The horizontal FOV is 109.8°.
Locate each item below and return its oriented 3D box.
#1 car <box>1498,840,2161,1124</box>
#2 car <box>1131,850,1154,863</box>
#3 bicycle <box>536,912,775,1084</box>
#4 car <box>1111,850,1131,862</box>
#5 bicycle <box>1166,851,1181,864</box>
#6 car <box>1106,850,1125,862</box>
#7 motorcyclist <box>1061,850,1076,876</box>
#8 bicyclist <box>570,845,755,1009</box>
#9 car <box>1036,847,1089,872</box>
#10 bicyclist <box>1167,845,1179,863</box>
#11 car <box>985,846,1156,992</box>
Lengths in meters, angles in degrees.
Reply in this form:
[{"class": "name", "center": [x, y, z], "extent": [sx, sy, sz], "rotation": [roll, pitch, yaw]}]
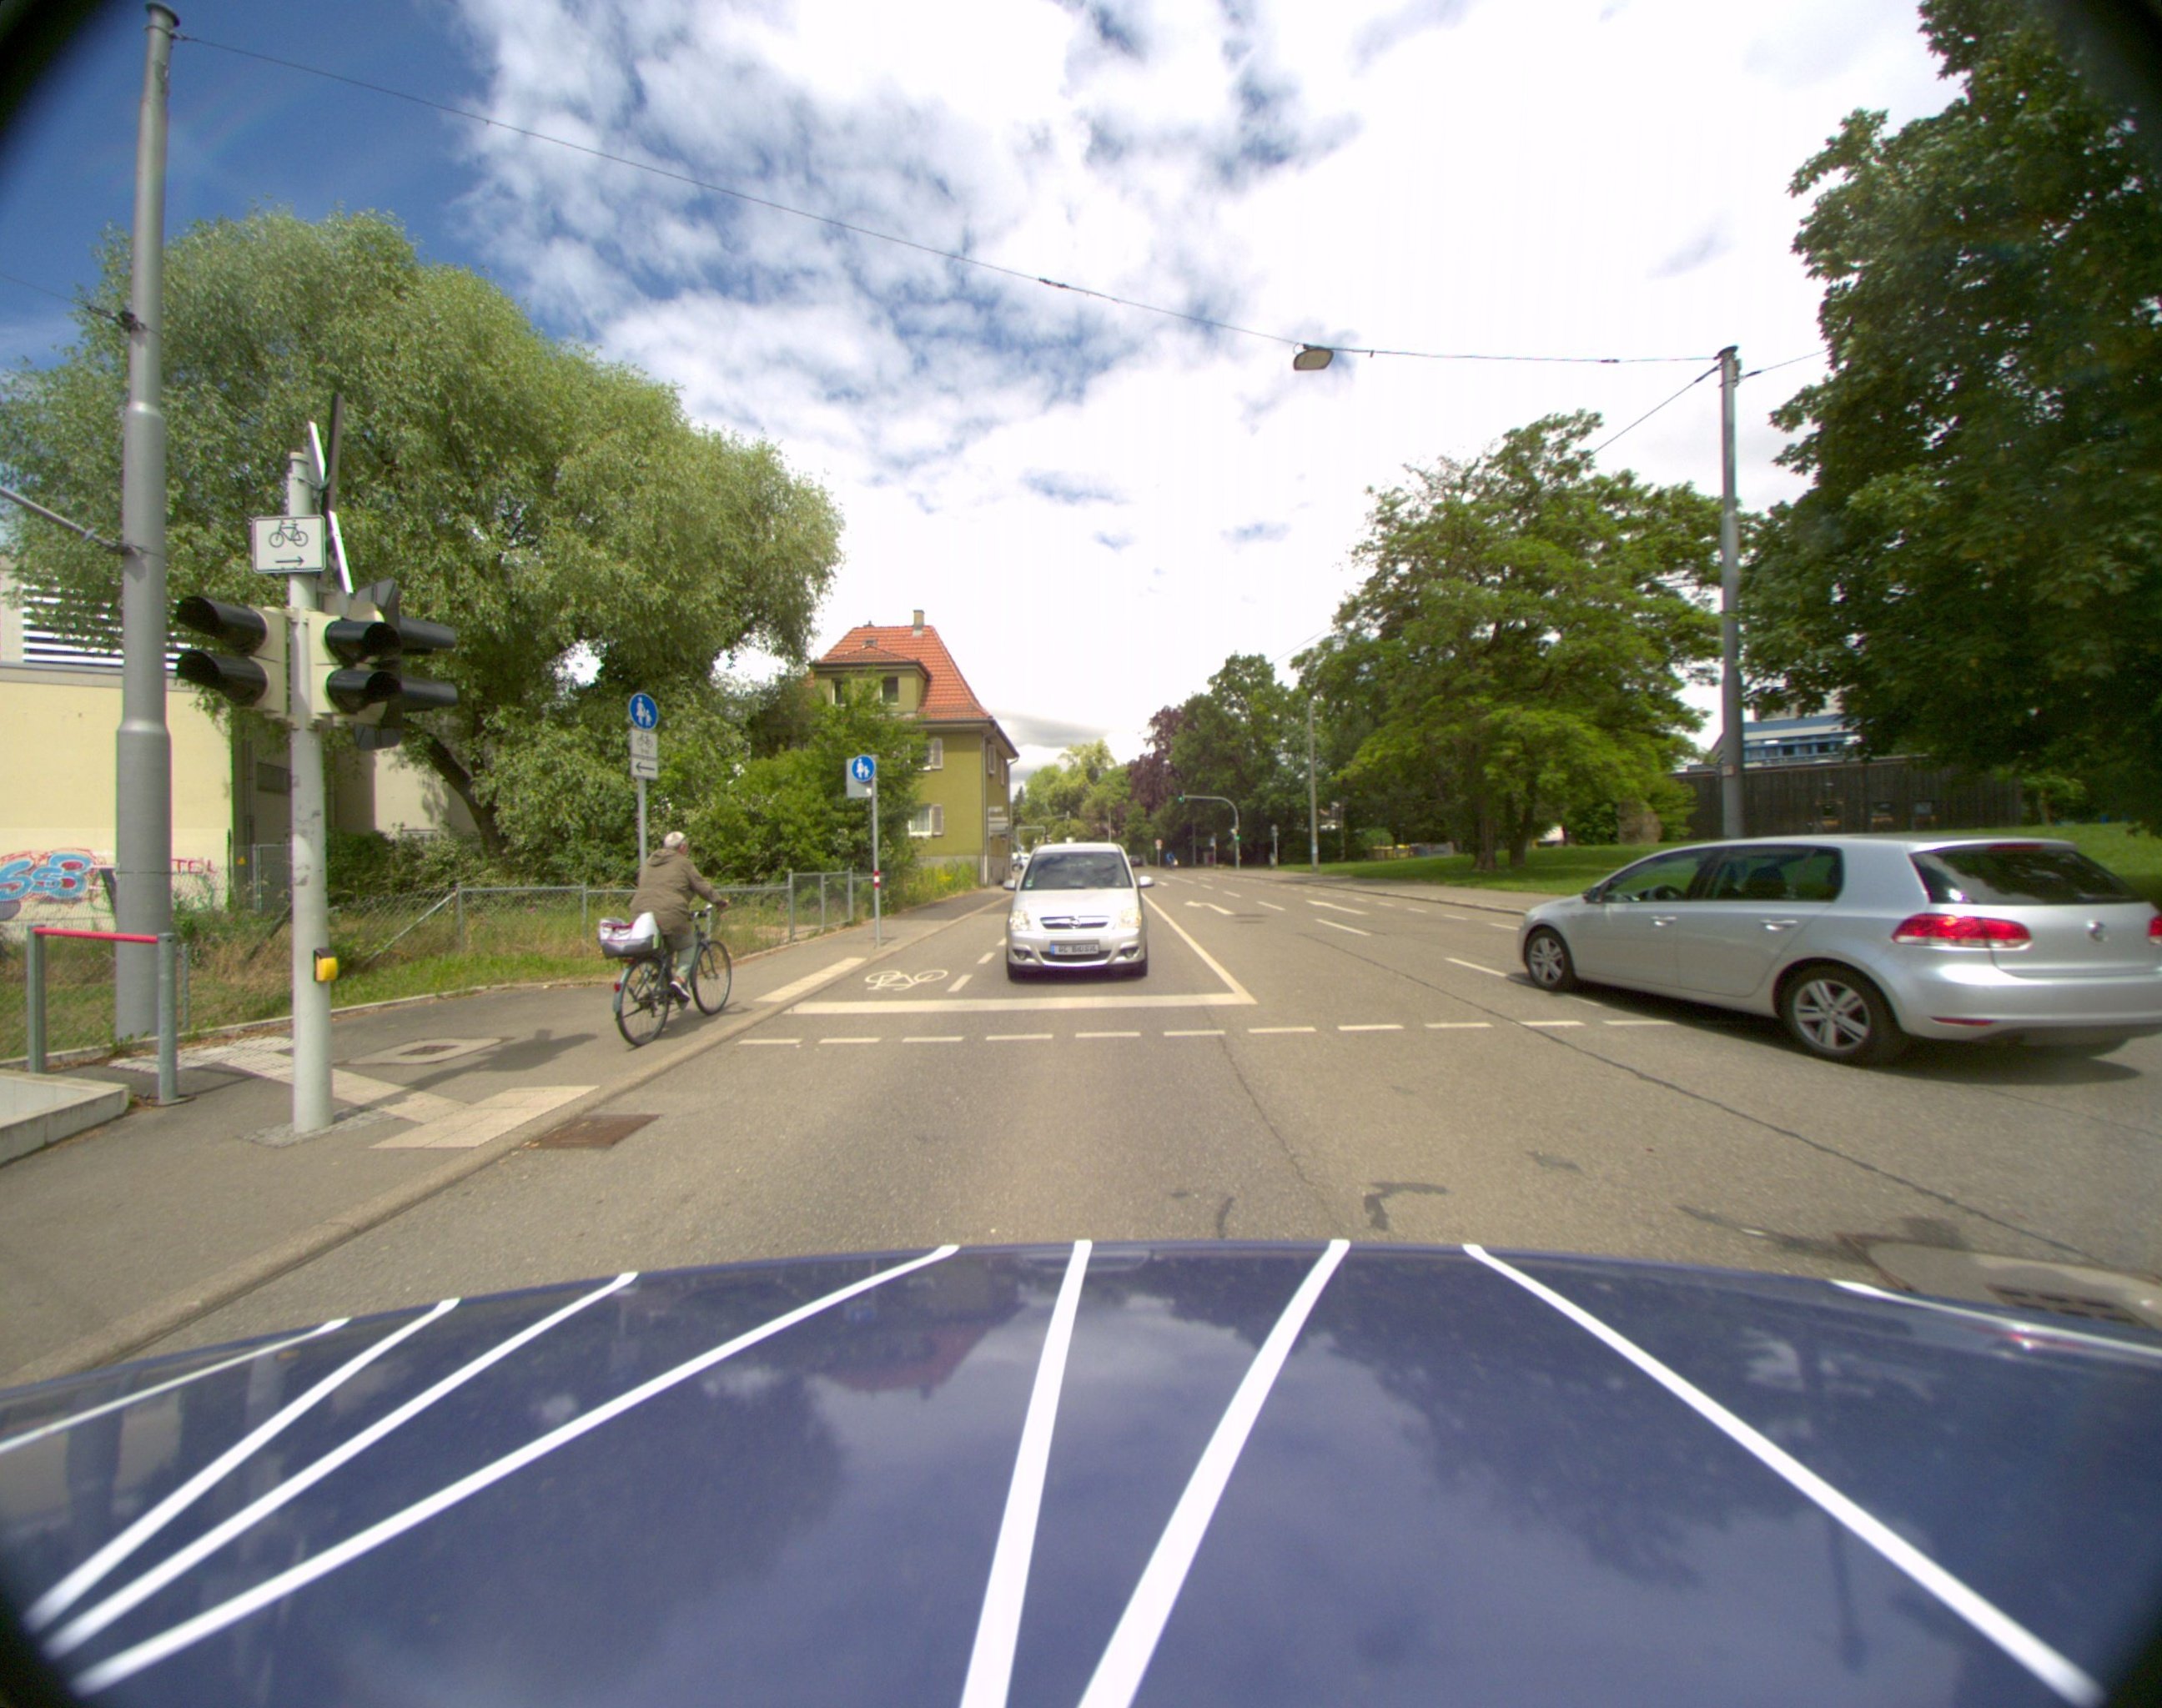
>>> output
[{"class": "car", "center": [5.388, 0.636, 6.005], "extent": [1.693, 1.450, 4.067], "rotation": [-1, 1, -5]}, {"class": "car", "center": [7.045, 0.252, 87.578], "extent": [1.900, 1.501, 3.998], "rotation": [0, 0, -6]}, {"class": "bicycle", "center": [-3.477, 1.122, 6.486], "extent": [0.934, 1.034, 1.914], "rotation": [1, 2, 0]}, {"class": "car", "center": [5.064, 0.266, 96.806], "extent": [1.900, 1.501, 3.998], "rotation": [0, 0, -6]}, {"class": "bicycle", "center": [8.235, 0.337, 68.052], "extent": [0.814, 1.101, 1.798], "rotation": [-3, 0, -9]}, {"class": "car", "center": [4.553, 0.244, 101.433], "extent": [1.900, 1.501, 3.998], "rotation": [0, 0, -6]}, {"class": "motorcyclist", "center": [-0.762, 0.550, 46.189], "extent": [0.837, 1.547, 0.650], "rotation": [0, 1, 0]}, {"class": "bicyclist", "center": [-3.474, 0.561, 6.435], "extent": [0.934, 1.241, 1.102], "rotation": [1, 2, 0]}, {"class": "car", "center": [-1.505, 0.428, 61.418], "extent": [2.004, 1.983, 4.359], "rotation": [-1, 1, -39]}, {"class": "bicyclist", "center": [8.221, 0.019, 68.004], "extent": [0.808, 1.599, 0.771], "rotation": [-3, 1, -9]}, {"class": "car", "center": [-0.030, 0.670, 10.060], "extent": [1.780, 1.519, 4.000], "rotation": [-1, 1, 2]}]
